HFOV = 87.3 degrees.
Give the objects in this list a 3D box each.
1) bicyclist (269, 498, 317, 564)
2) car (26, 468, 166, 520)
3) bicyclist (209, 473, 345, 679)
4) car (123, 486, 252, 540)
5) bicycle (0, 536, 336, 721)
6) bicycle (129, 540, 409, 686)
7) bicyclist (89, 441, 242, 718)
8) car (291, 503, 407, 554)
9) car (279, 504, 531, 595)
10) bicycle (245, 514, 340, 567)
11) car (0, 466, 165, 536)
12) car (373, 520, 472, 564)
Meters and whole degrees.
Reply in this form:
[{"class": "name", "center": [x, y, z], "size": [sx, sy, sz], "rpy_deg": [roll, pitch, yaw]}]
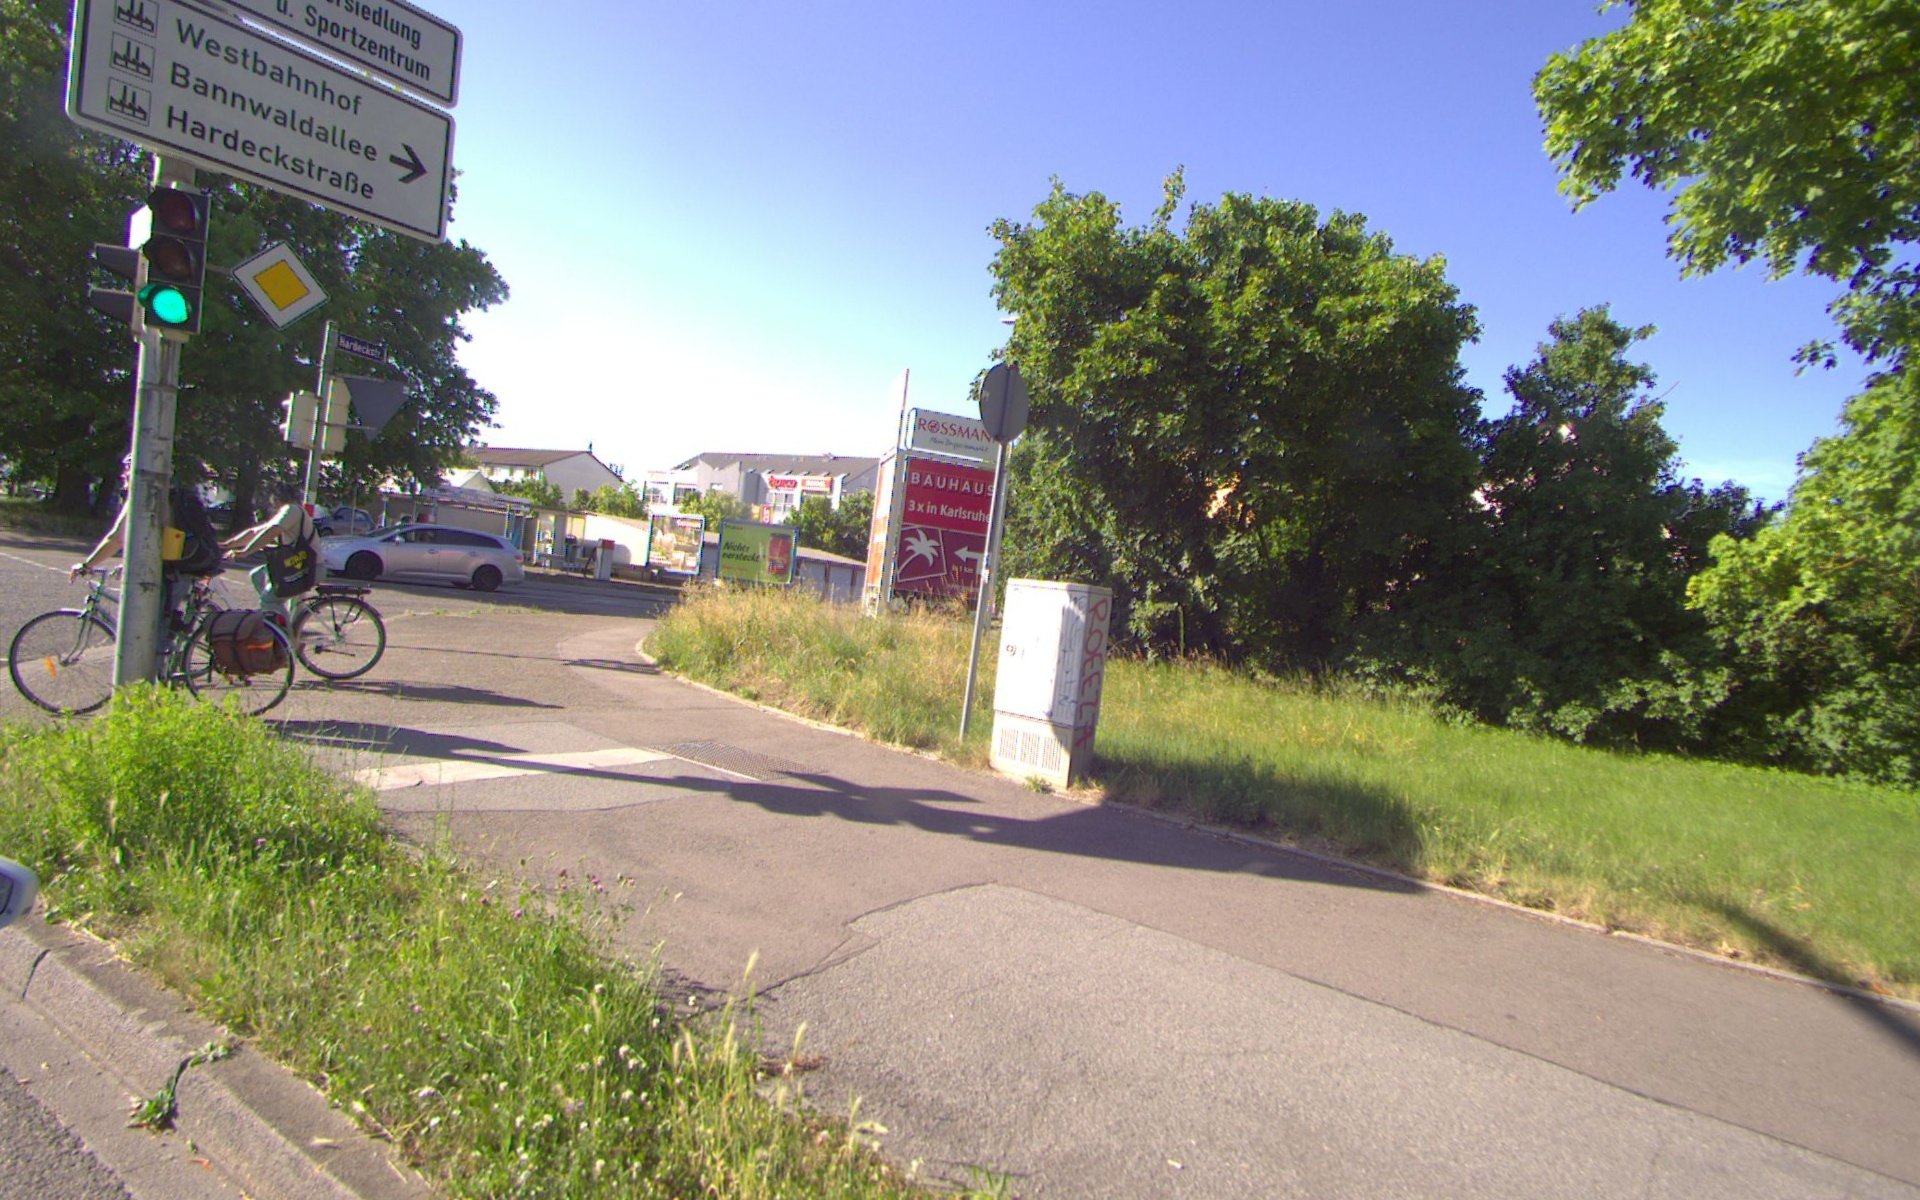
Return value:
[{"class": "bicyclist", "center": [-17.989, -1.864, 27.138], "size": [0.534, 1.662, 0.826], "rpy_deg": [7, 2, 37]}, {"class": "car", "center": [-36.175, -4.403, 42.247], "size": [1.766, 1.350, 4.003], "rpy_deg": [7, -2, 20]}, {"class": "bicyclist", "center": [-5.793, -0.184, 8.566], "size": [0.796, 1.656, 0.540], "rpy_deg": [3, 1, -22]}, {"class": "car", "center": [-32.658, -3.653, 42.668], "size": [1.504, 1.529, 4.002], "rpy_deg": [7, -2, 22]}, {"class": "bicycle", "center": [-5.254, 0.198, 6.616], "size": [1.841, 1.090, 0.529], "rpy_deg": [3, 0, -19]}, {"class": "bicycle", "center": [-5.815, 0.131, 8.583], "size": [1.843, 1.090, 0.529], "rpy_deg": [4, 0, -21]}, {"class": "bicyclist", "center": [-5.205, -0.116, 6.623], "size": [0.576, 1.718, 0.525], "rpy_deg": [3, 1, -18]}, {"class": "car", "center": [-24.554, -2.834, 40.629], "size": [1.726, 1.392, 4.005], "rpy_deg": [7, -2, 8]}, {"class": "car", "center": [-13.054, -1.152, 23.905], "size": [1.818, 1.507, 4.862], "rpy_deg": [6, 0, 43]}, {"class": "bicycle", "center": [-18.004, -1.587, 27.170], "size": [0.521, 1.156, 2.018], "rpy_deg": [7, 1, 38]}, {"class": "car", "center": [-40.230, -4.461, 45.986], "size": [1.966, 2.123, 5.648], "rpy_deg": [7, -2, 31]}, {"class": "car", "center": [-28.160, -3.019, 52.796], "size": [1.966, 1.625, 3.996], "rpy_deg": [7, -2, 30]}]
